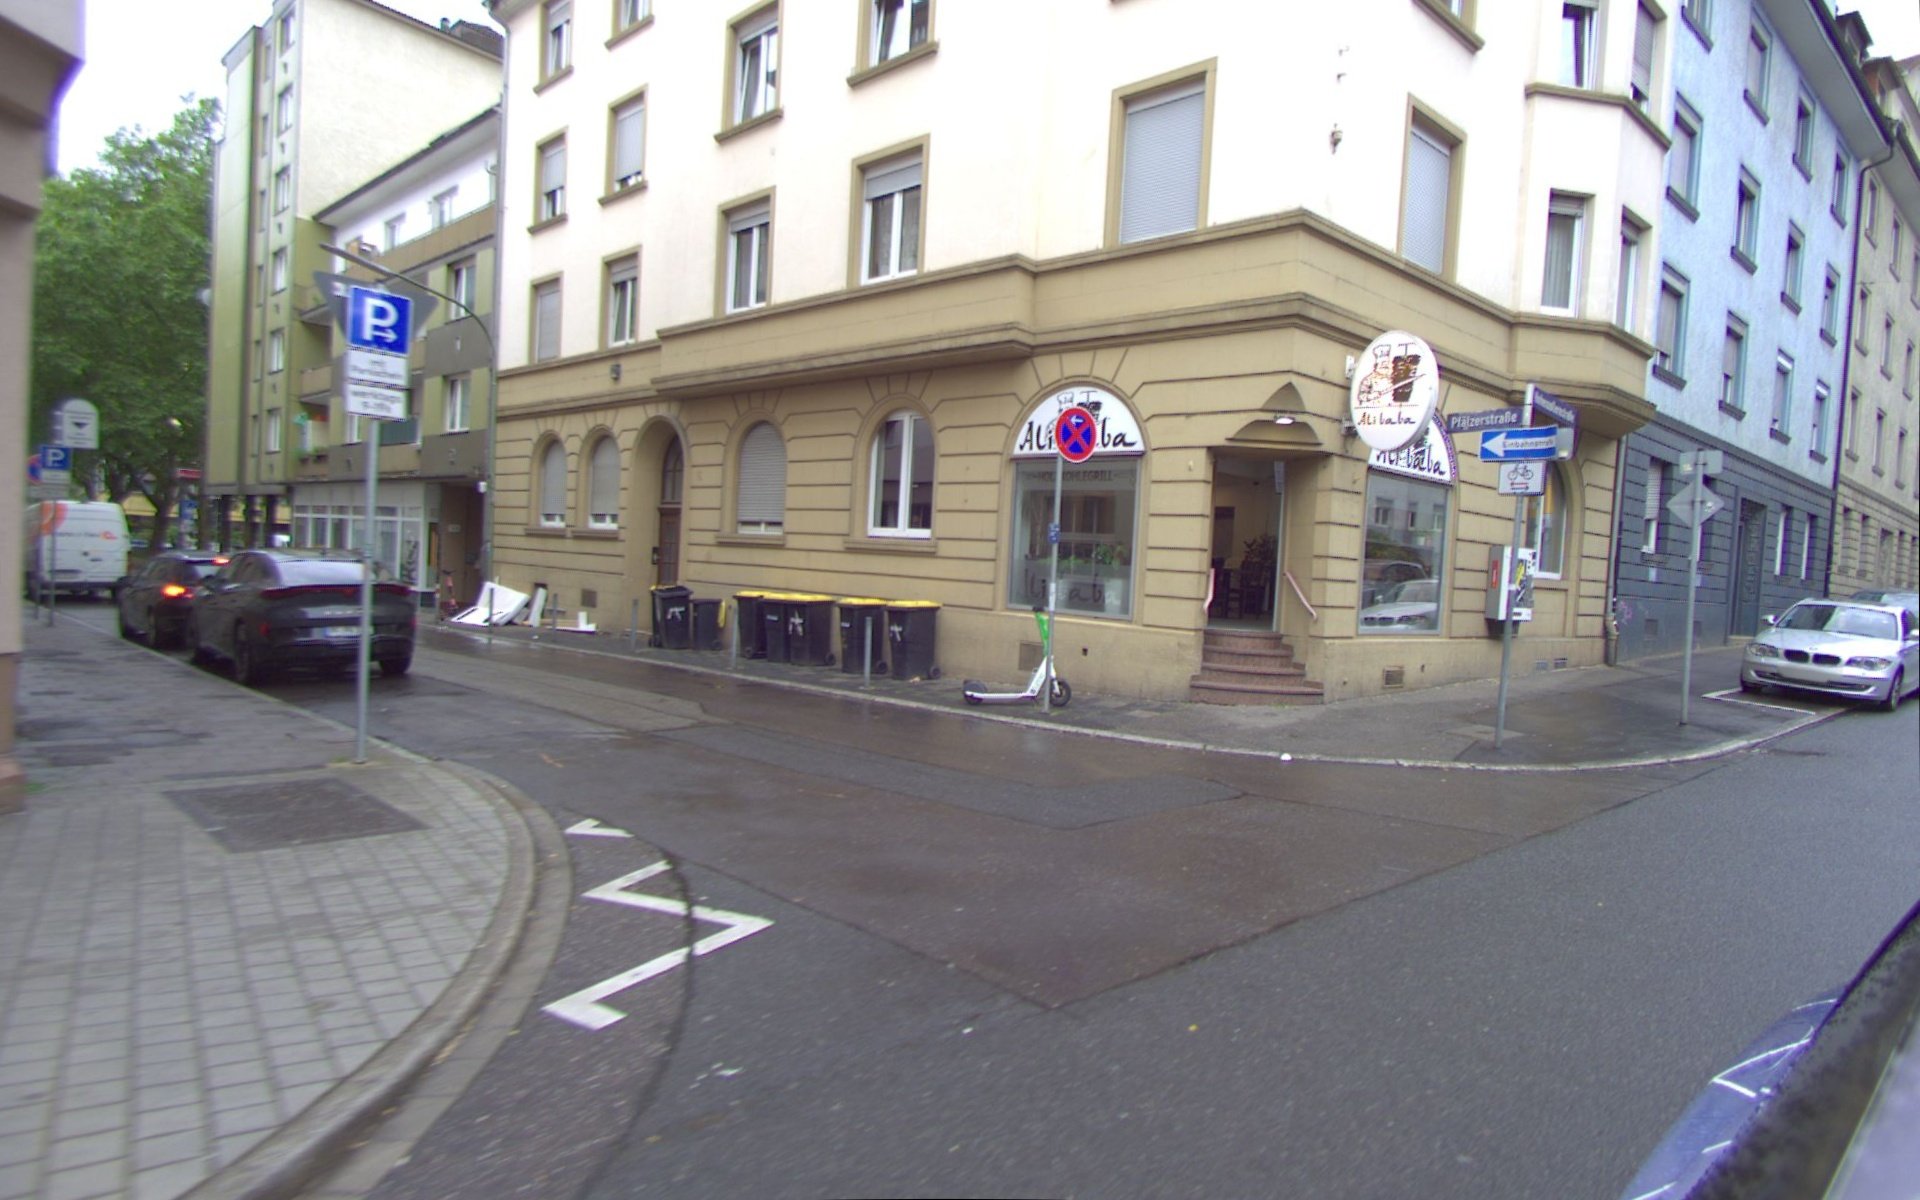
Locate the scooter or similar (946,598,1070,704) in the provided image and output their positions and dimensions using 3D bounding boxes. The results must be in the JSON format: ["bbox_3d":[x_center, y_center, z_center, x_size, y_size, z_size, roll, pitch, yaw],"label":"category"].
[{"bbox_3d":[0.557,0.572,11.573,1.354,1.142,0.466,-1,5,9],"label":"scooter or similar"}]

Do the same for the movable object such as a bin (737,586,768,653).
[{"bbox_3d":[-3.341,0.304,16.300,0.332,1.058,0.386,-1,1,-45],"label":"movable object such as a bin"}]

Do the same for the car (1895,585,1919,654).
[{"bbox_3d":[22.220,0.458,22.474,3.531,1.446,1.588,0,6,-40],"label":"car"}]

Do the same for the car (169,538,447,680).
[{"bbox_3d":[-8.619,0.000,13.273,3.983,1.571,2.018,3,3,41],"label":"car"}]

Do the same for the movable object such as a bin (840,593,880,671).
[{"bbox_3d":[-1.434,0.443,14.473,0.347,1.079,0.436,0,1,40],"label":"movable object such as a bin"}]

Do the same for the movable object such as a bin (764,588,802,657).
[{"bbox_3d":[-2.763,0.345,15.810,0.348,1.058,0.453,0,1,45],"label":"movable object such as a bin"}]

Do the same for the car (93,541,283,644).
[{"bbox_3d":[-12.839,-0.205,16.744,3.983,1.510,1.712,3,3,41],"label":"car"}]

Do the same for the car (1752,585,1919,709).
[{"bbox_3d":[13.226,0.574,14.866,4.016,1.481,1.574,-1,5,-39],"label":"car"}]

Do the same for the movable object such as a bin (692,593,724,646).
[{"bbox_3d":[-4.335,0.328,17.428,0.336,0.902,0.417,0,1,45],"label":"movable object such as a bin"}]

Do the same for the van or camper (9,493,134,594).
[{"bbox_3d":[-24.426,-1.449,27.760,4.945,2.522,1.970,0,1,42],"label":"van or camper"}]

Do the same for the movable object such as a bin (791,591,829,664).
[{"bbox_3d":[-2.281,0.409,15.380,0.347,1.058,0.454,3,4,41],"label":"movable object such as a bin"}]

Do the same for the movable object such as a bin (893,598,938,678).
[{"bbox_3d":[-0.605,0.510,13.846,0.515,1.059,0.343,1,0,-39],"label":"movable object such as a bin"}]

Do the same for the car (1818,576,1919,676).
[{"bbox_3d":[17.399,0.424,18.482,4.216,1.576,1.823,-1,5,-39],"label":"car"}]

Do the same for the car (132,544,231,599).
[{"bbox_3d":[-24.467,-0.925,31.765,3.983,1.591,1.712,3,3,41],"label":"car"}]

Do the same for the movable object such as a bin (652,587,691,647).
[{"bbox_3d":[-4.965,0.279,17.409,0.494,1.007,0.448,-1,1,-37],"label":"movable object such as a bin"}]
